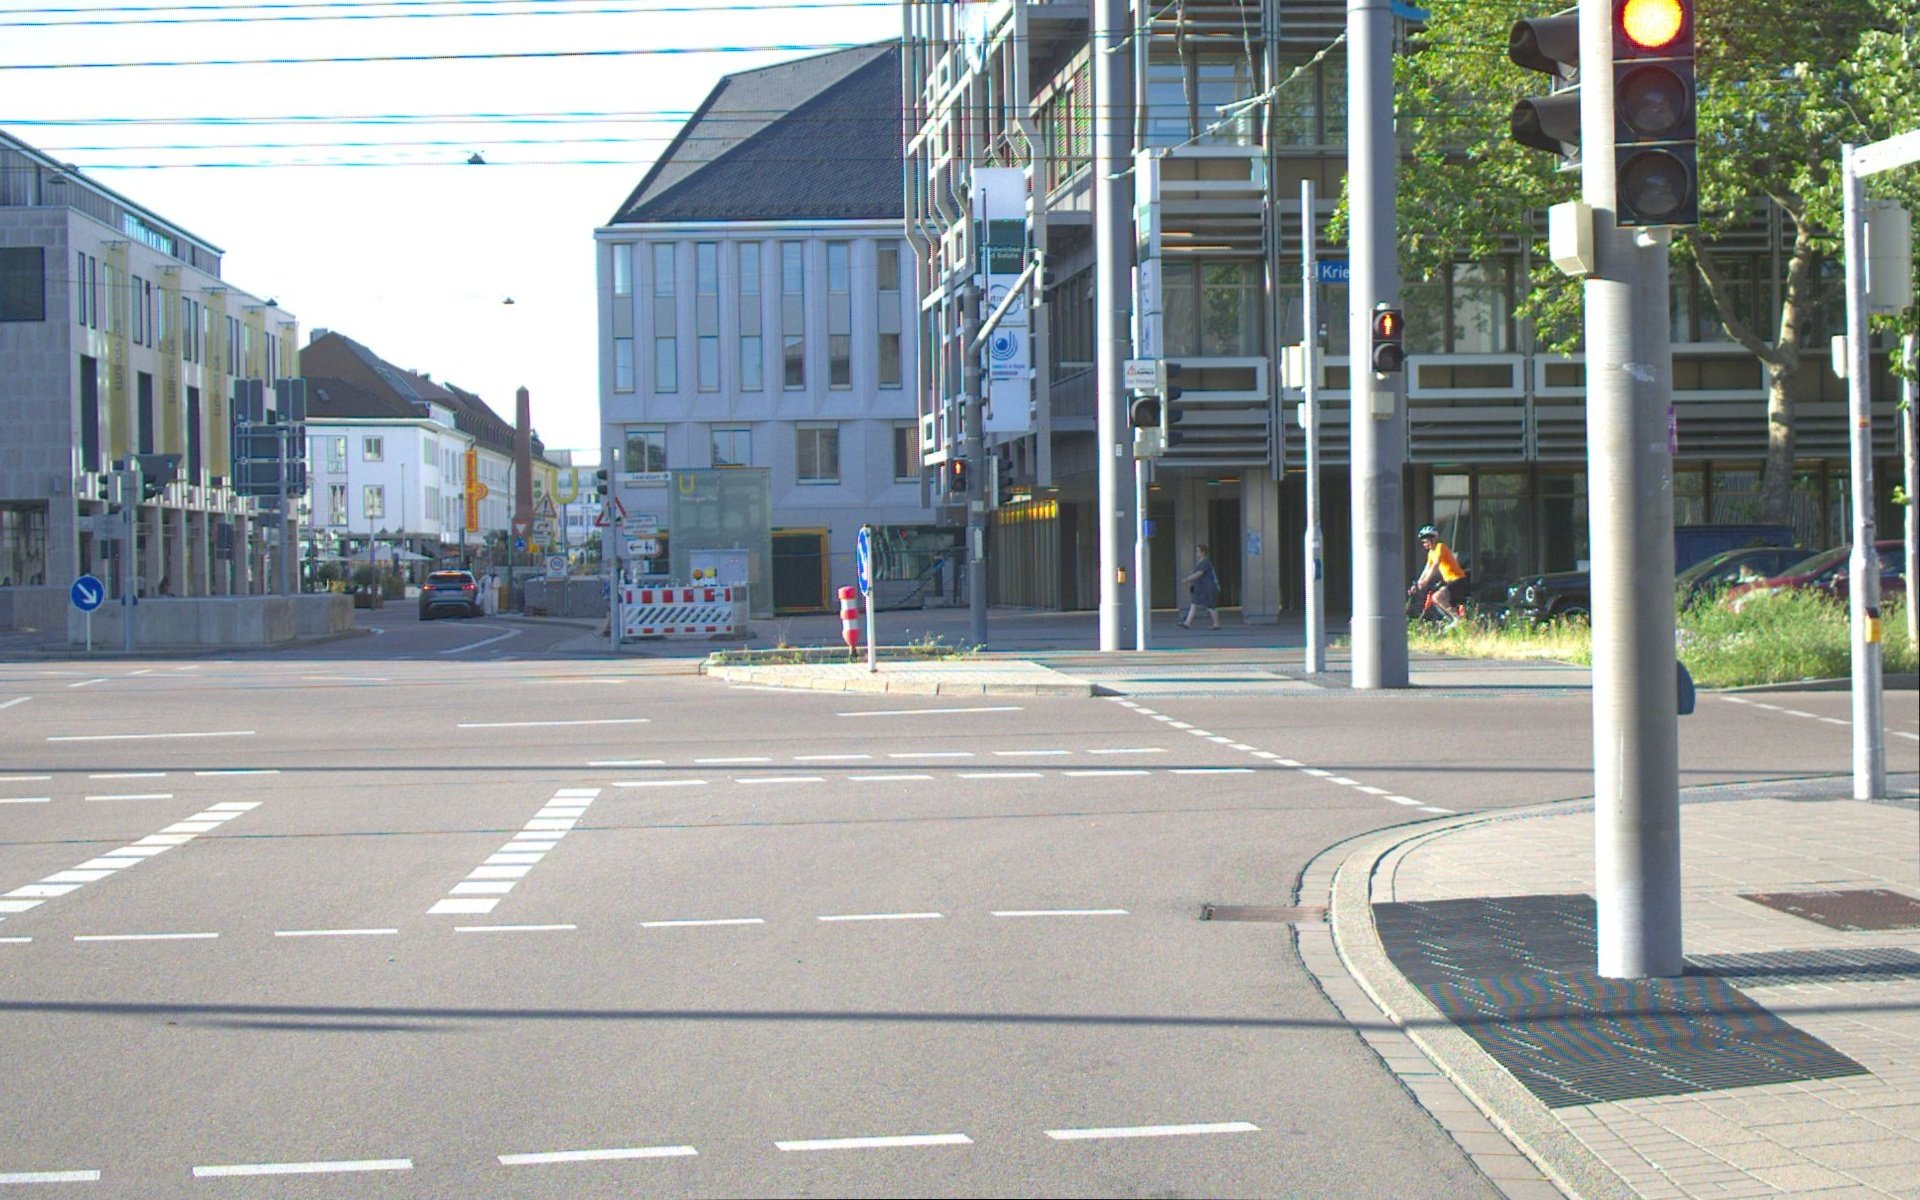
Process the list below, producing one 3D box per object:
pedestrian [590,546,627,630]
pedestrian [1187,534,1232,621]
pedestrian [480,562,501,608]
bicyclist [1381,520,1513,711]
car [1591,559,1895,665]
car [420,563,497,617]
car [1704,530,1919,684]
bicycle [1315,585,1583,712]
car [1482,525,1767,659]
[{"bbox_3d":[-6.989,-0.246,68.379,0.663,1.652,0.755,-1,1,-3],"label":"pedestrian"},{"bbox_3d":[4.762,-0.432,65.659,0.729,1.652,0.651,-1,1,-7],"label":"pedestrian"},{"bbox_3d":[-14.519,-0.457,106.315,0.609,1.406,0.570,-1,1,-6],"label":"pedestrian"},{"bbox_3d":[6.669,0.197,47.128,1.567,2.571,0.932,-1,1,-9],"label":"bicyclist"},{"bbox_3d":[11.501,0.165,50.648,3.986,1.503,1.868,0,1,-3],"label":"car"},{"bbox_3d":[-15.791,-0.340,108.414,2.199,1.601,4.327,-1,1,-6],"label":"car"},{"bbox_3d":[12.294,0.095,46.397,3.986,2.007,2.000,1,0,-3],"label":"car"},{"bbox_3d":[6.700,0.656,47.135,3.490,1.653,0.932,-1,1,-9],"label":"bicycle"},{"bbox_3d":[10.353,-0.136,53.765,3.986,2.007,2.000,1,0,-3],"label":"car"}]
